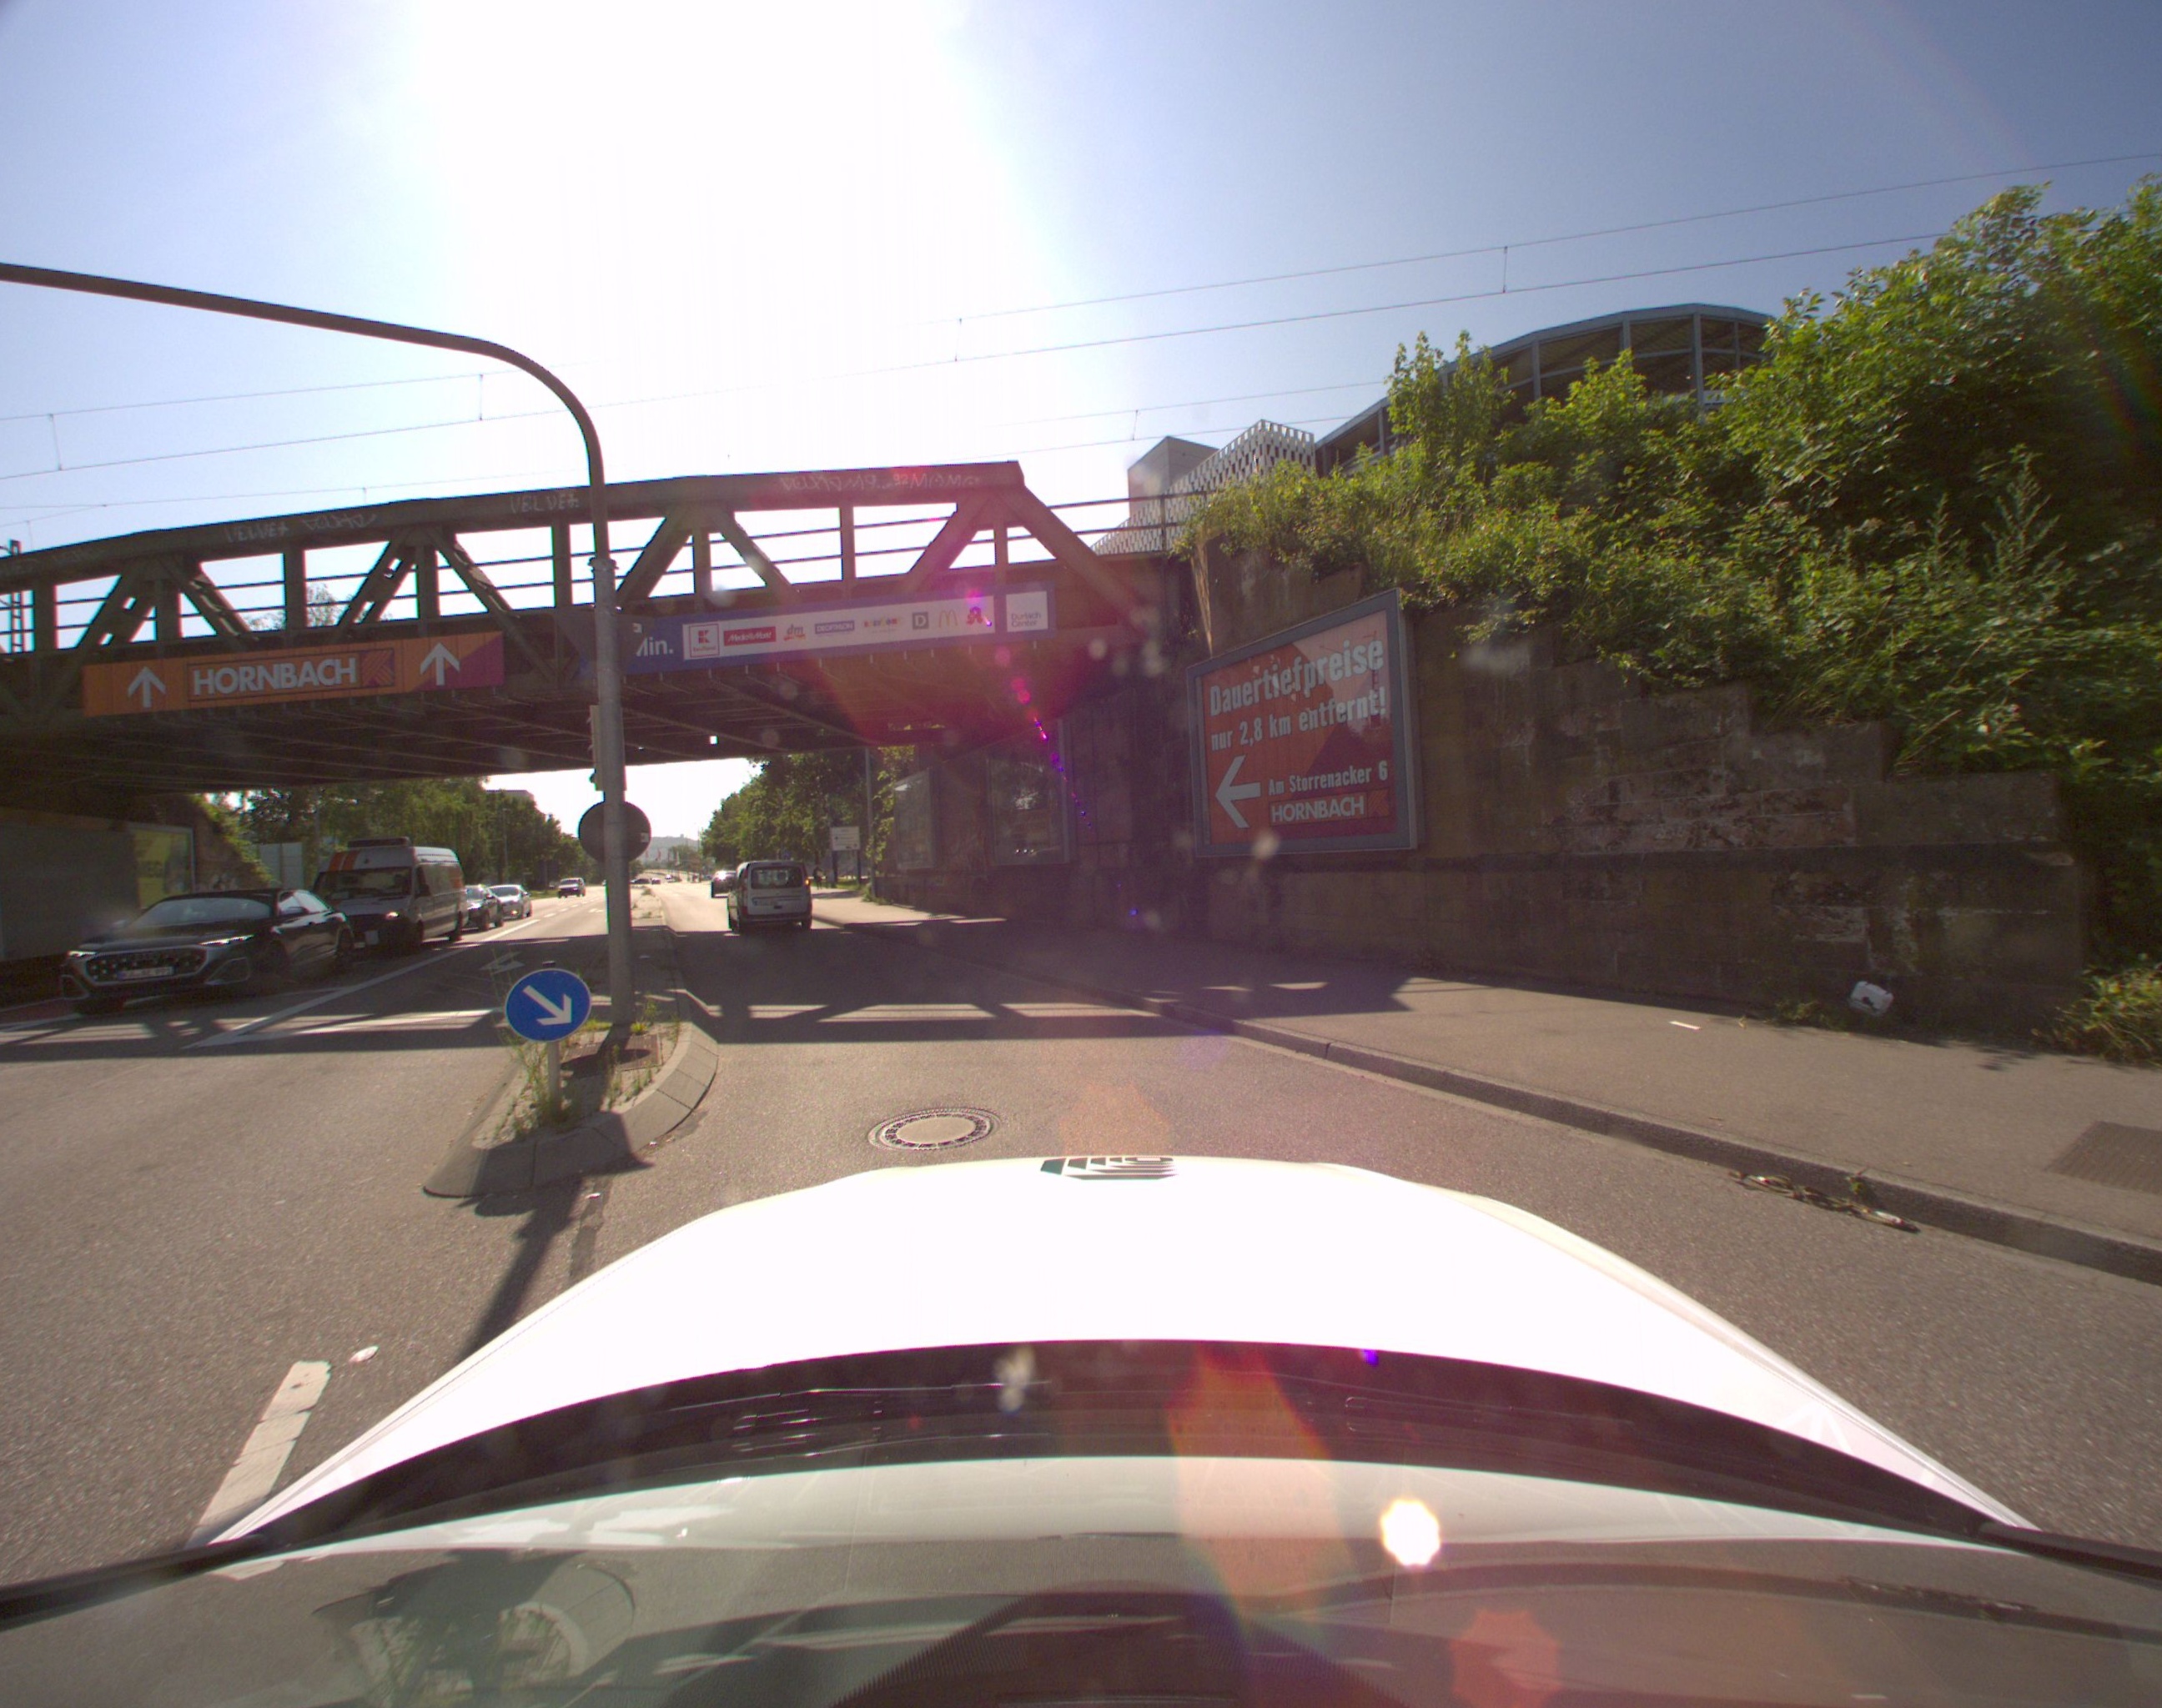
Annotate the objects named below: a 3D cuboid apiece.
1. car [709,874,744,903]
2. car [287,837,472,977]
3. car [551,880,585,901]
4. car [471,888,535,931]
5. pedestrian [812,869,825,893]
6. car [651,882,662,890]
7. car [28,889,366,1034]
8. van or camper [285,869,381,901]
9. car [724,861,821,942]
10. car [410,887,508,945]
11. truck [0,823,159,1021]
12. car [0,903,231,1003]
[{"bbox_3d":[-22.244,2.122,51.038,1.816,1.640,4.422,-3,0,-25],"label":"car"},{"bbox_3d":[-17.203,1.193,20.429,2.006,2.805,6.871,-5,1,-29],"label":"car"},{"bbox_3d":[-52.911,3.722,84.053,2.002,2.013,5.305,-3,0,-23],"label":"car"},{"bbox_3d":[-24.412,2.299,34.499,1.653,1.494,3.793,-4,1,-28],"label":"car"},{"bbox_3d":[-17.640,1.811,54.811,0.650,1.603,0.839,-3,-1,-27],"label":"pedestrian"},{"bbox_3d":[-95.167,7.128,182.481,2.005,1.684,3.964,-3,-1,-27],"label":"car"},{"bbox_3d":[-13.623,1.485,13.059,2.004,1.681,4.906,-3,0,-27],"label":"car"},{"bbox_3d":[-60.283,2.443,65.768,5.412,2.471,1.981,0,-1,-30],"label":"van or camper"},{"bbox_3d":[-8.236,1.183,21.536,1.916,1.829,4.143,-3,-1,-27],"label":"car"},{"bbox_3d":[-20.583,1.981,27.129,1.779,1.494,4.140,-4,1,-27],"label":"car"},{"bbox_3d":[-18.865,1.152,13.692,2.356,3.088,6.999,-2,-1,-31],"label":"truck"},{"bbox_3d":[-22.223,2.161,18.955,1.995,1.689,4.249,-4,1,-27],"label":"car"}]
